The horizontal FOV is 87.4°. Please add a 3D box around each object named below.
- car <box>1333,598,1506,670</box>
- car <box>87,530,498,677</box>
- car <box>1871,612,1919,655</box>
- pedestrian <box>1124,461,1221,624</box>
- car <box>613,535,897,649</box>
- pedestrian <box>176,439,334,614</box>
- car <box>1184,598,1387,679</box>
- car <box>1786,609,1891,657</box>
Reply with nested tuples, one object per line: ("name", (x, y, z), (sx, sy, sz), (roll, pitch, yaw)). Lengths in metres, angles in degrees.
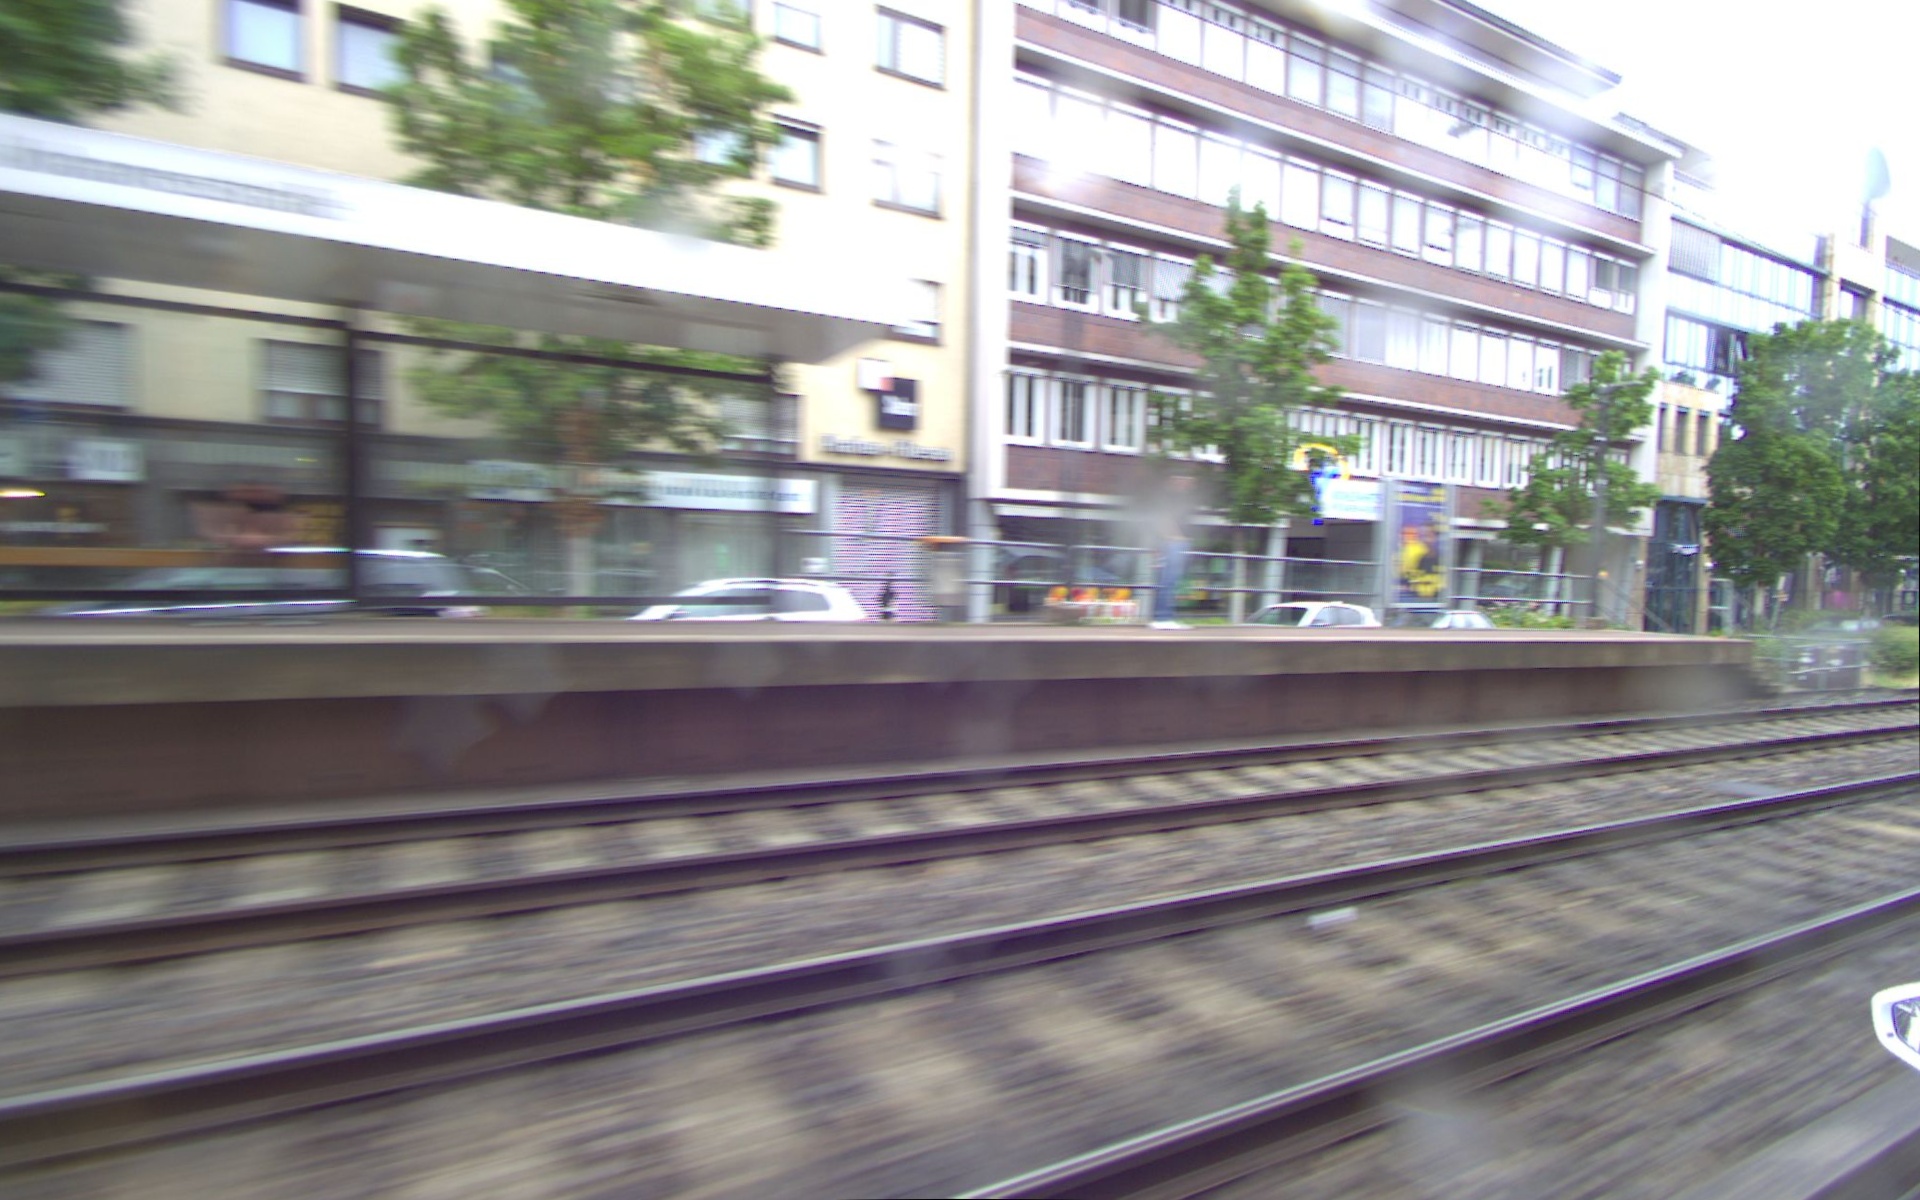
("car", (10.393, 0.764, 22.650), (4.133, 1.455, 1.559), (2, 1, -33))
("car", (-7.468, 0.058, 11.577), (3.696, 1.455, 1.559), (2, 1, -33))
("car", (35.011, 1.234, 36.695), (4.133, 1.455, 1.559), (2, 1, -33))
("pedestrian", (2.494, -0.650, 11.787), (0.840, 1.826, 0.652), (1, 1, -32))
("car", (-2.917, -0.082, 14.537), (3.696, 1.455, 1.559), (2, 1, -33))
("pedestrian", (-5.073, -0.490, 7.215), (0.843, 1.138, 0.884), (1, 1, -40))
("car", (6.581, 0.754, 20.158), (4.193, 1.455, 1.559), (2, 1, -33))
("car", (29.368, 1.095, 33.538), (4.133, 1.455, 1.559), (2, 1, -33))
